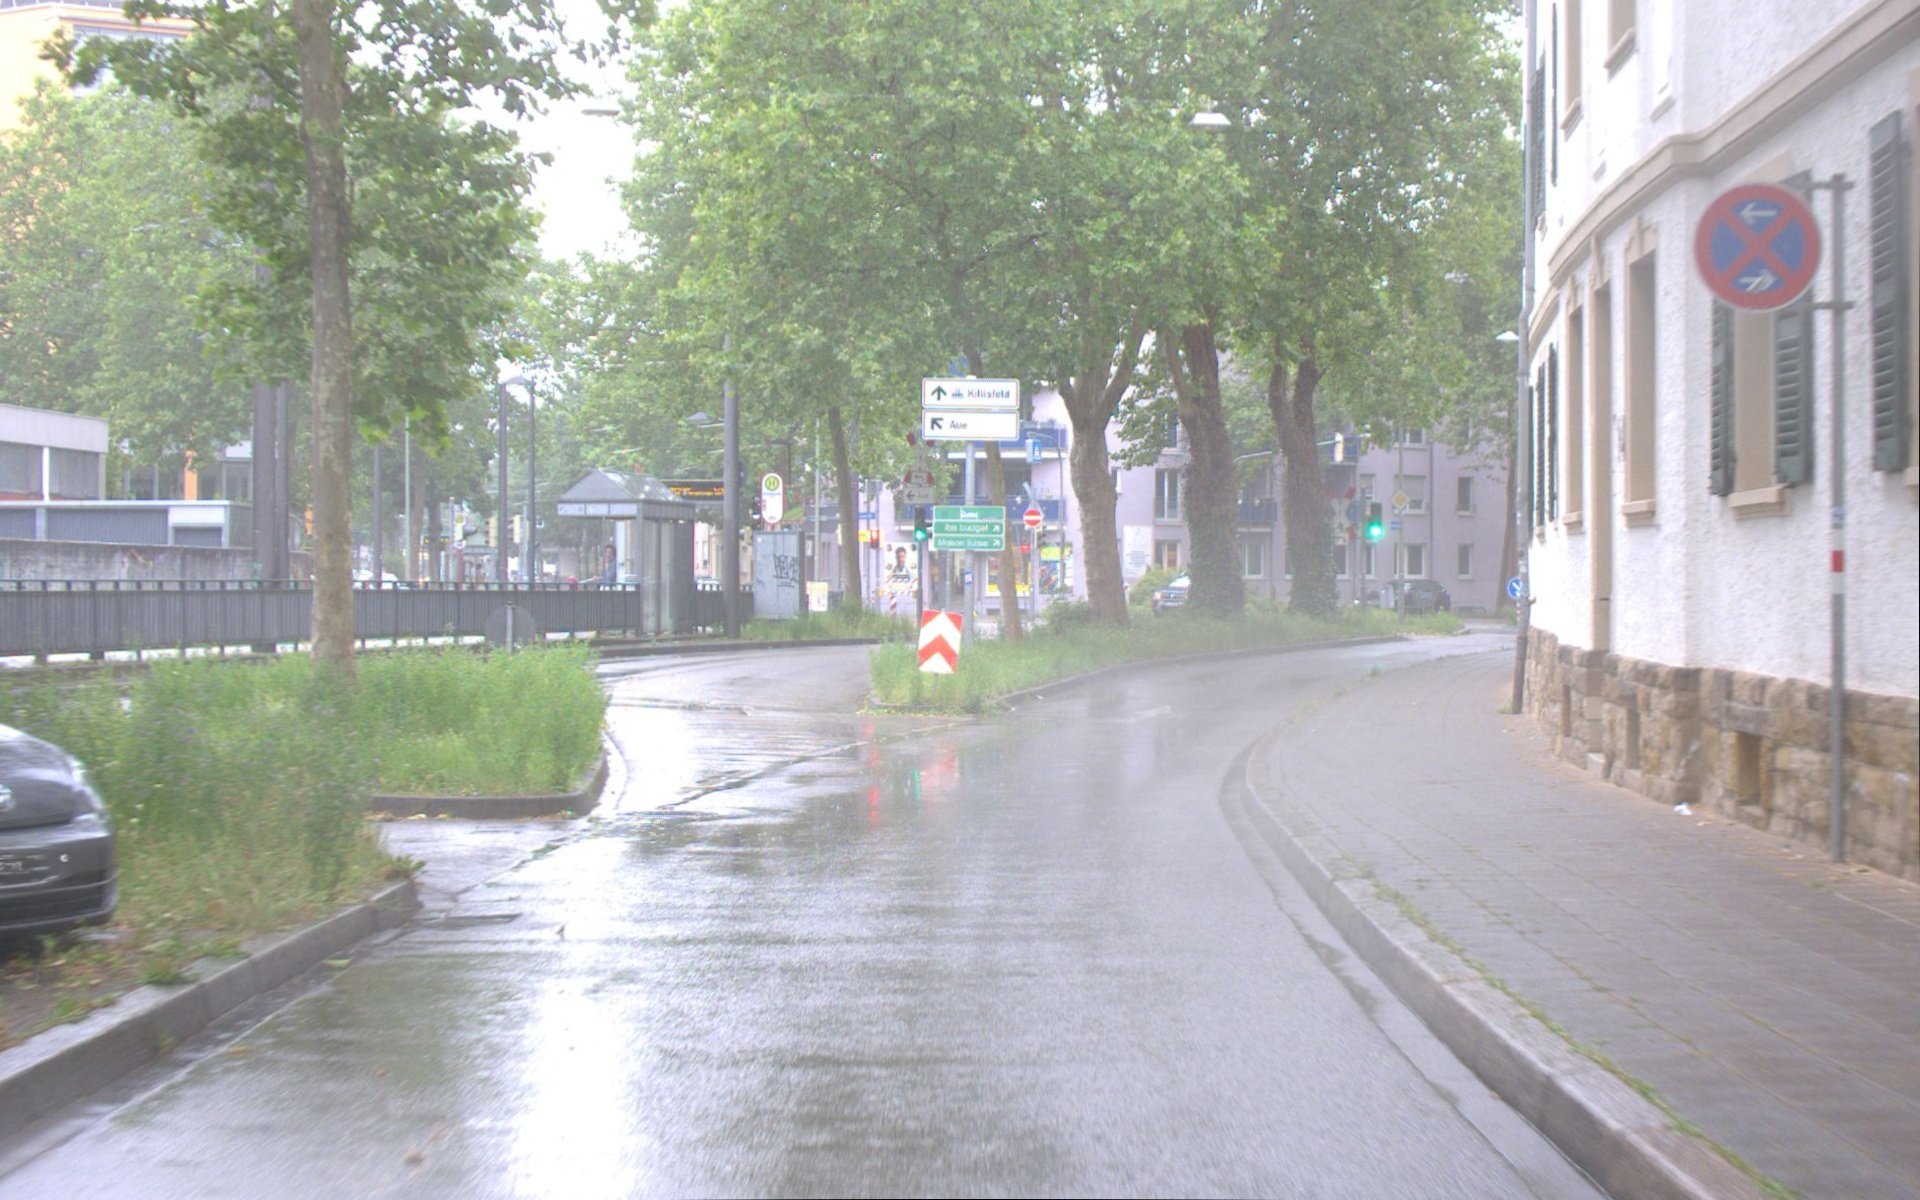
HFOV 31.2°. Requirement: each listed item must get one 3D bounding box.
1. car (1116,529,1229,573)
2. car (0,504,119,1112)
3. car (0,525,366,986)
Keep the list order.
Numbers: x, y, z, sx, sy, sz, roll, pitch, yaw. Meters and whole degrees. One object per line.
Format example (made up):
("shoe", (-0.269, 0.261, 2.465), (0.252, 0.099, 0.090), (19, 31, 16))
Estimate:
("car", (7.904, -1.819, 127.637), (3.989, 1.592, 1.999), (0, 1, -43))
("car", (-4.976, 0.687, 10.427), (4.525, 1.708, 1.958), (-2, 3, 30))
("car", (-4.757, 0.572, 13.801), (4.357, 1.507, 1.958), (-2, 3, 30))
